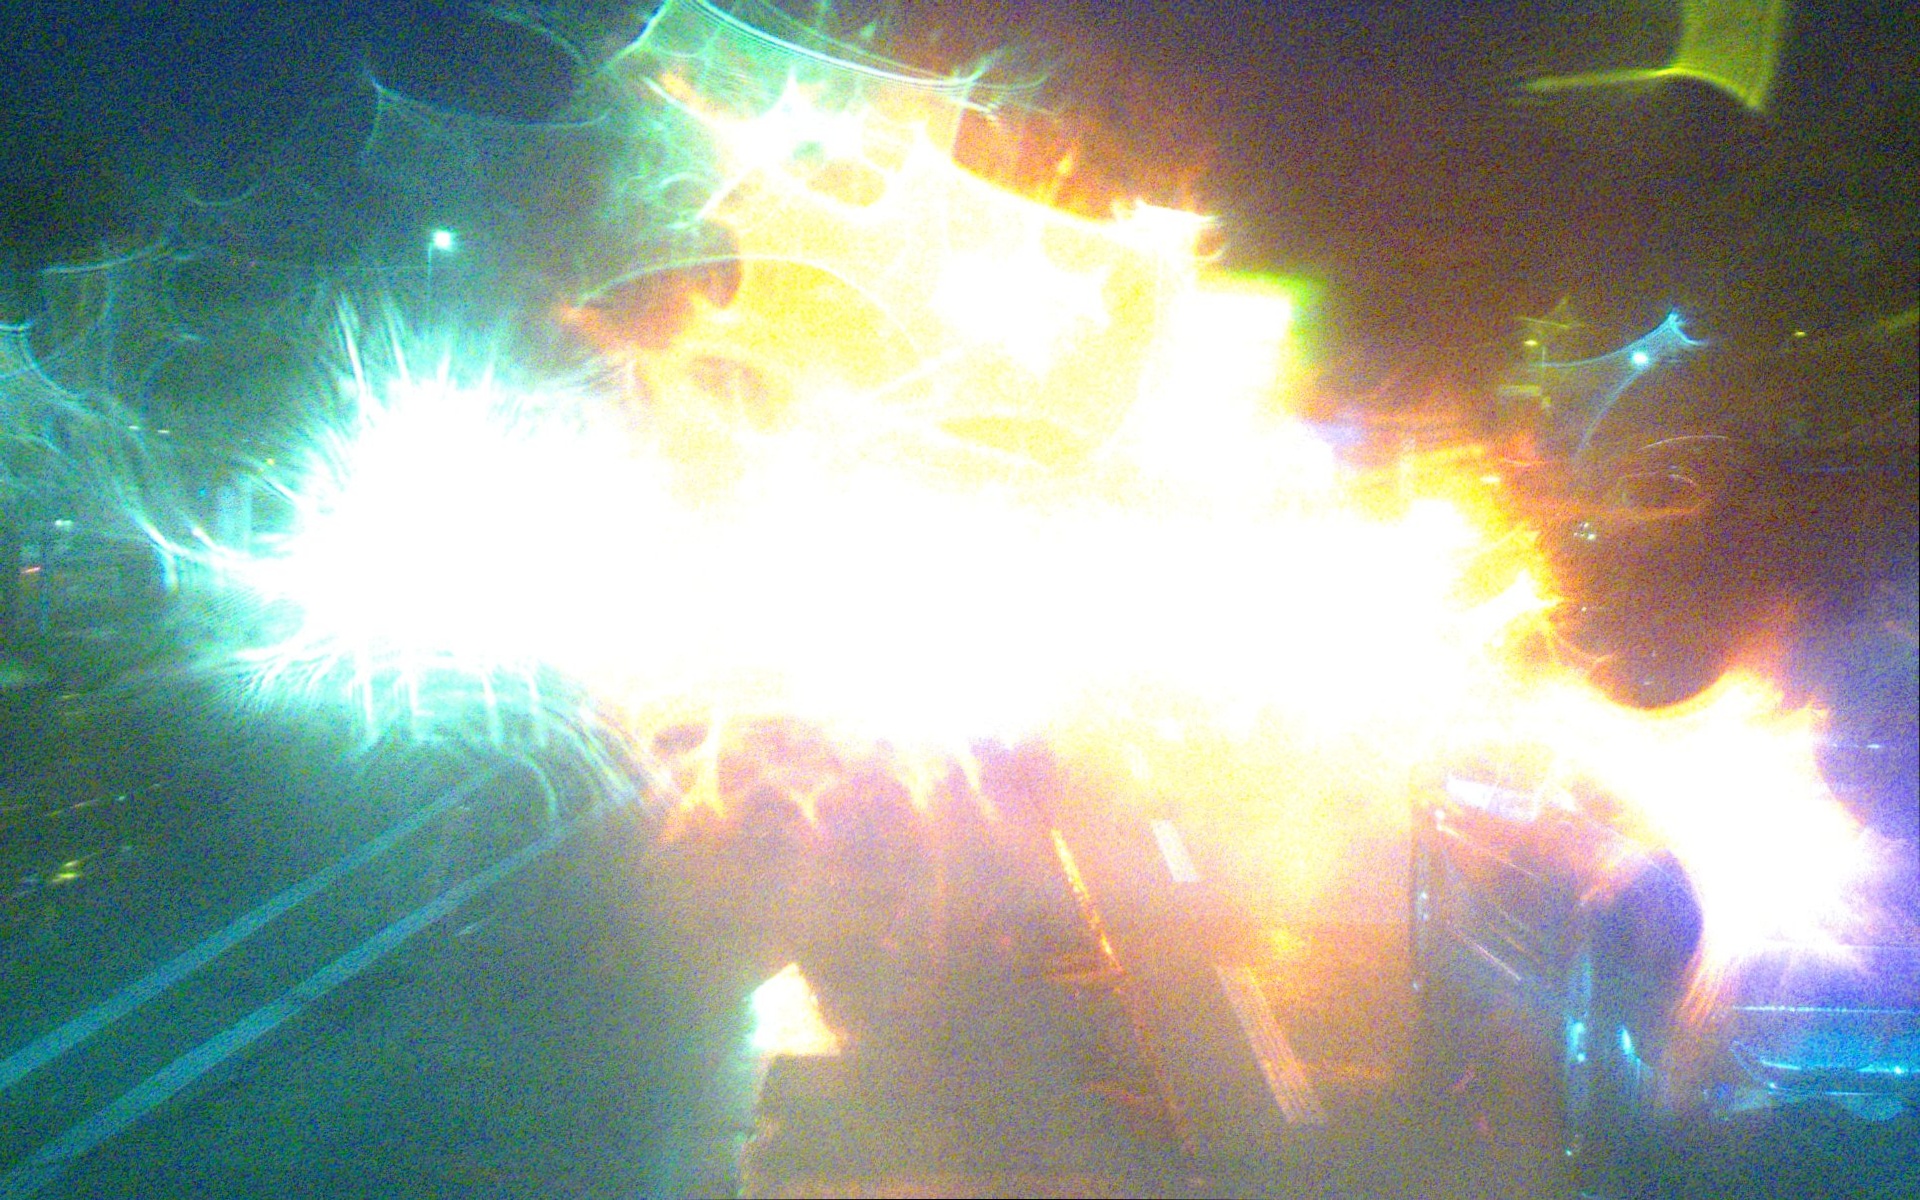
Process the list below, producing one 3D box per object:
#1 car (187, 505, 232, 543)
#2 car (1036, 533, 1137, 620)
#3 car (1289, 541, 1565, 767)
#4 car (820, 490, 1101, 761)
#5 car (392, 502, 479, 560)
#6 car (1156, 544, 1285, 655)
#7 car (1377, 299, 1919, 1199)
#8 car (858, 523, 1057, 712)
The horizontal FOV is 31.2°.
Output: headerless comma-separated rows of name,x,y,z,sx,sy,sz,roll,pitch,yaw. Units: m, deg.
car,-38.537,-3.922,176.566,1.993,1.905,4.744,1,1,-9
car,2.196,-0.416,60.452,1.663,1.445,4.050,1,1,1
car,3.342,0.328,25.255,1.768,1.445,4.217,1,2,5
car,0.051,0.131,23.121,1.694,1.624,3.852,2,1,1
car,-17.903,-2.365,117.215,1.993,1.905,4.744,0,1,-21
car,3.535,-0.026,47.092,1.663,1.445,4.049,1,1,3
car,2.315,0.355,8.834,1.942,1.965,4.218,1,2,0
car,0.029,0.115,31.965,1.709,1.632,3.730,0,1,2
